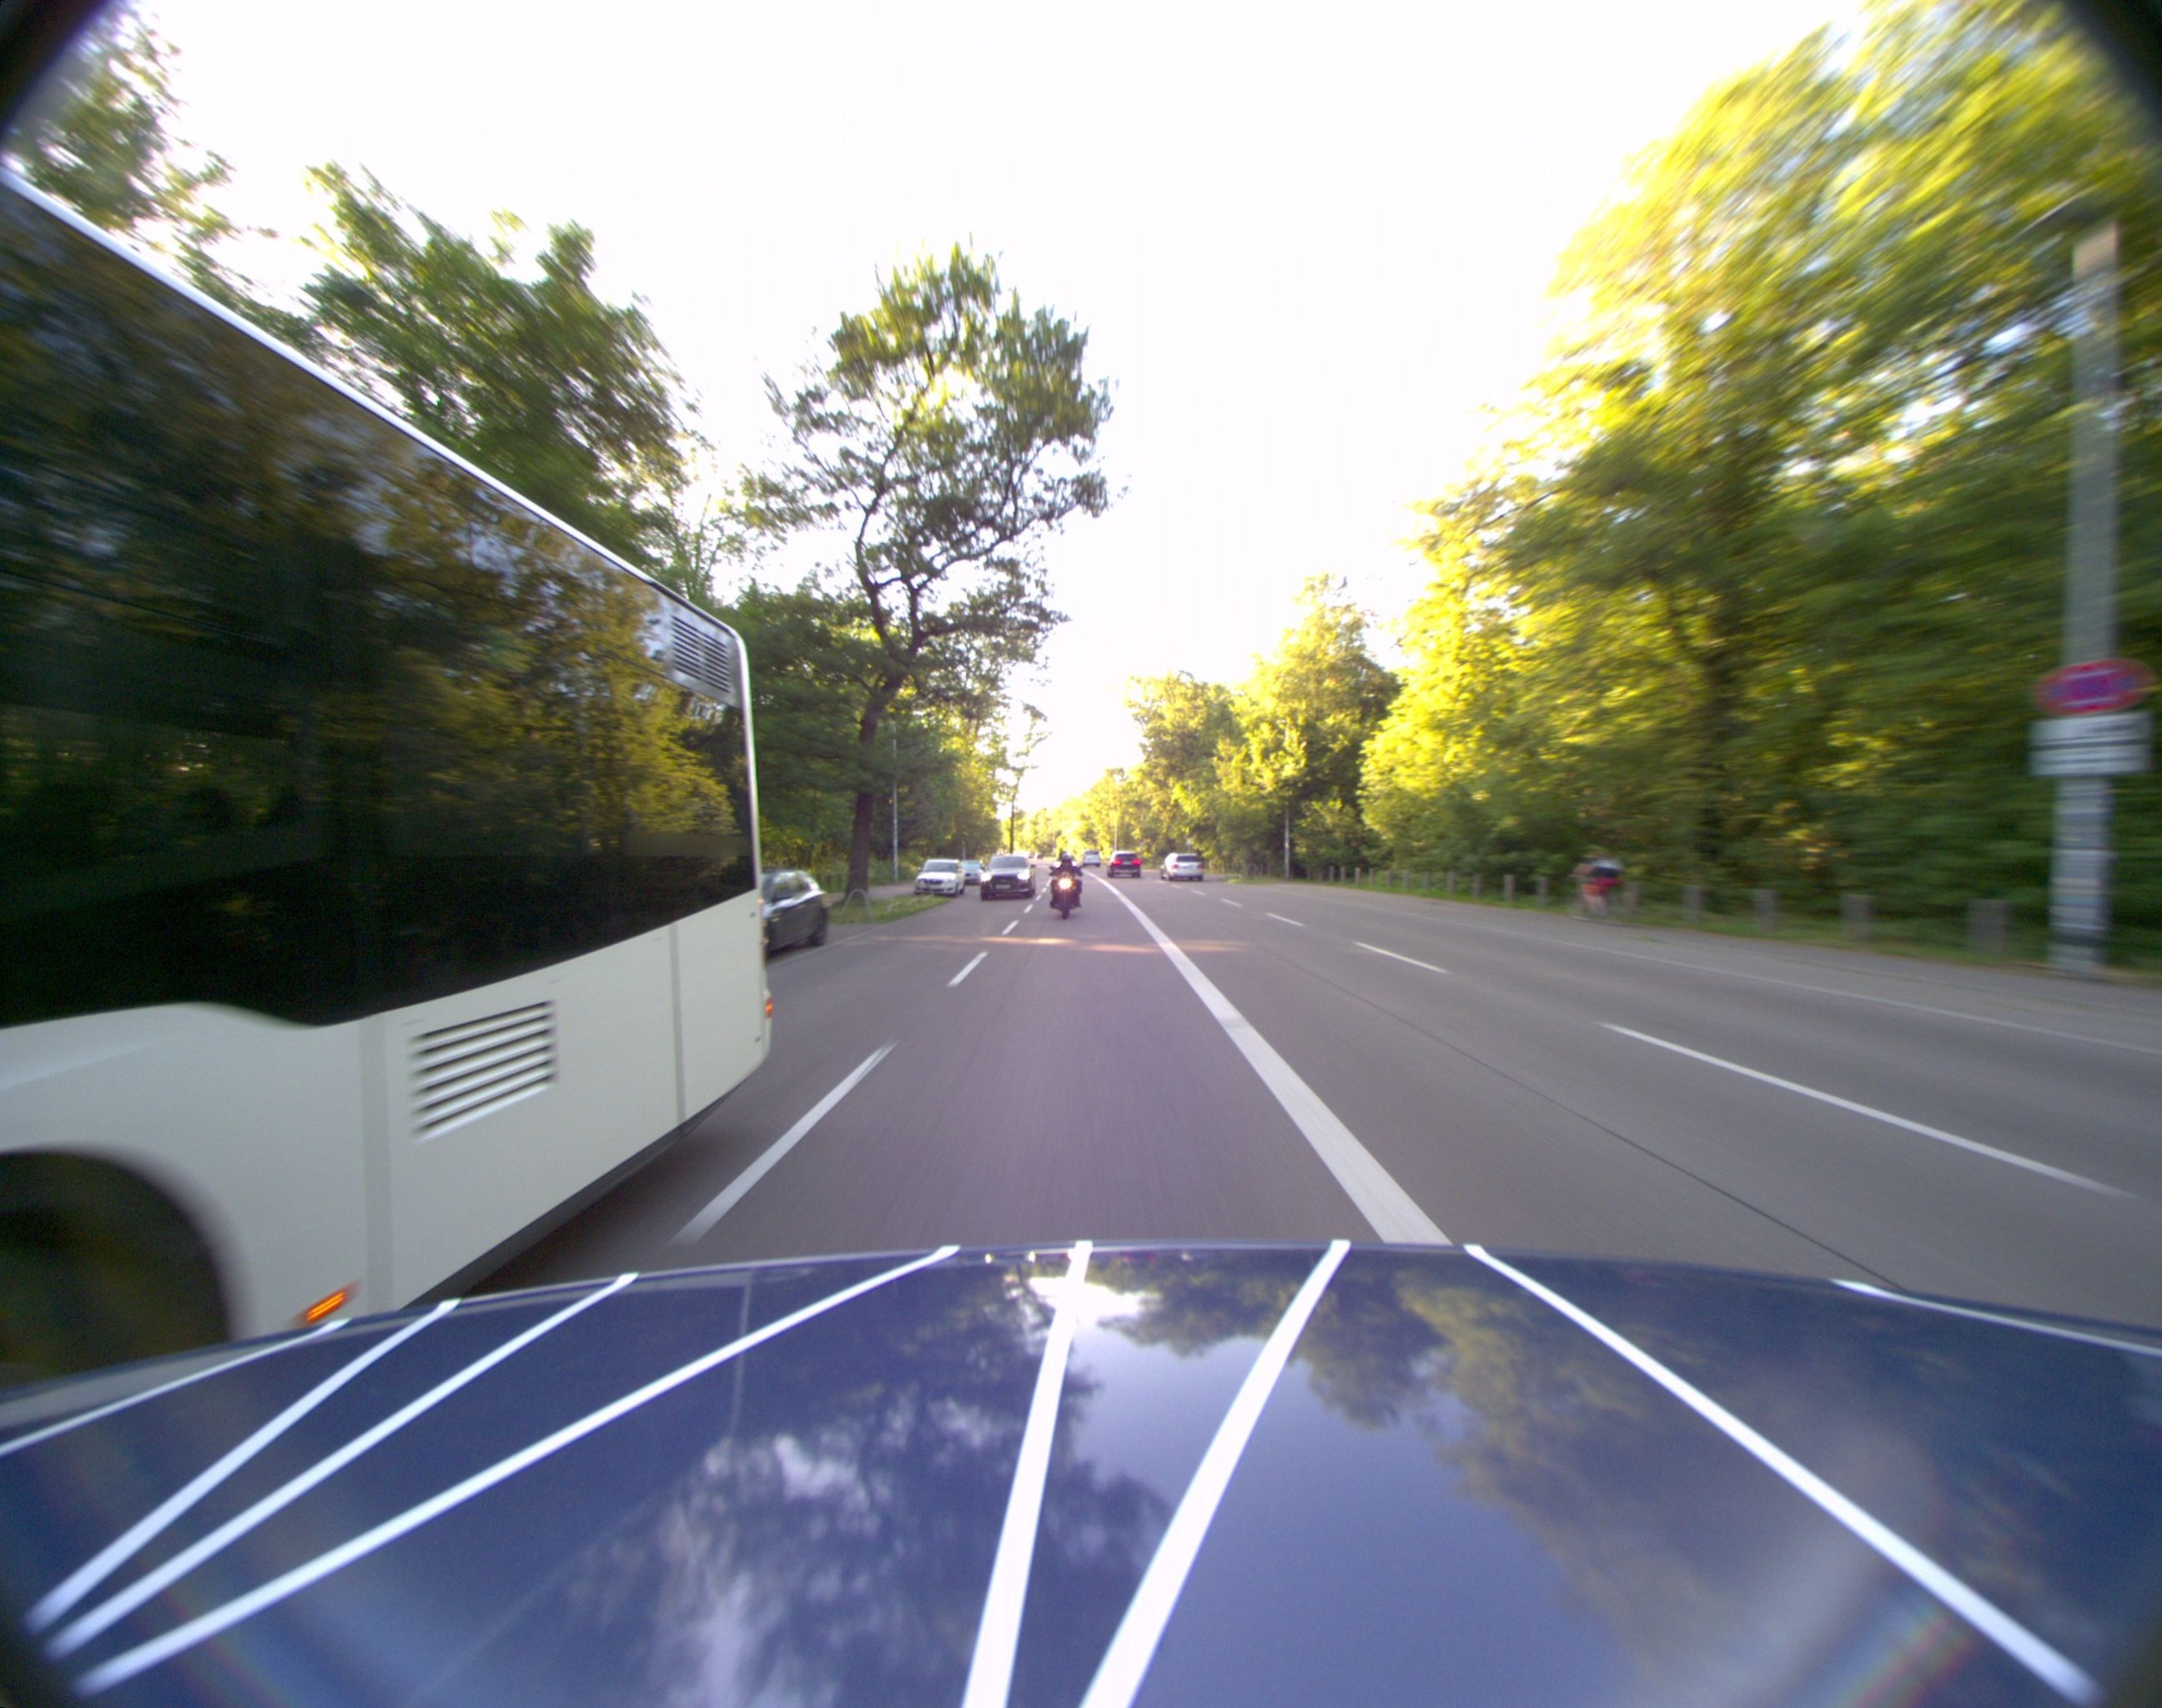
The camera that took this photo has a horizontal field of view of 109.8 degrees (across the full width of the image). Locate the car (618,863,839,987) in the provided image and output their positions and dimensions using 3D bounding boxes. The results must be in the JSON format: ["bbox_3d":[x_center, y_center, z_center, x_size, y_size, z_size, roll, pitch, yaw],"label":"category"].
[{"bbox_3d":[-5.372,0.972,12.248,2.000,1.548,4.096,-1,0,-7],"label":"car"}]

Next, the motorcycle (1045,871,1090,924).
[{"bbox_3d":[-0.293,1.049,19.240,0.956,1.098,3.339,-3,0,1],"label":"motorcycle"}]

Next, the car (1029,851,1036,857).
[{"bbox_3d":[-13.901,-0.112,218.948,1.912,1.746,4.797,0,0,-6],"label":"car"}]

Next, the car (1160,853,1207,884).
[{"bbox_3d":[5.594,0.758,42.054,1.903,1.523,4.528,-1,0,-1],"label":"car"}]

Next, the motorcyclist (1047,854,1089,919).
[{"bbox_3d":[-0.309,0.790,18.978,0.953,1.523,1.074,-2,1,1],"label":"motorcyclist"}]

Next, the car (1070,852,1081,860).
[{"bbox_3d":[-1.023,0.333,147.704,1.828,1.454,4.923,-1,0,-4],"label":"car"}]

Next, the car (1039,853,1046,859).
[{"bbox_3d":[-10.005,0.561,195.564,1.810,1.536,4.088,-1,0,-4],"label":"car"}]

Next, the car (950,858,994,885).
[{"bbox_3d":[-6.185,0.948,43.413,1.857,1.384,4.521,2,0,-1],"label":"car"}]

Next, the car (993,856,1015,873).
[{"bbox_3d":[-6.671,0.901,66.325,1.740,1.384,3.944,-1,0,-4],"label":"car"}]

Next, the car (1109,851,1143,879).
[{"bbox_3d":[2.818,0.665,48.503,1.923,1.694,4.442,-1,0,1],"label":"car"}]

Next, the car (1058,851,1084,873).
[{"bbox_3d":[-0.877,0.653,66.215,1.998,1.761,4.232,-1,0,2],"label":"car"}]

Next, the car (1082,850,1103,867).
[{"bbox_3d":[1.246,0.489,87.817,2.212,1.949,4.912,-1,0,-1],"label":"car"}]

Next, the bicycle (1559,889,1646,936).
[{"bbox_3d":[10.598,1.162,15.515,0.496,0.809,1.808,2,0,0],"label":"bicycle"}]

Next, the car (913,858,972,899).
[{"bbox_3d":[-5.649,0.947,31.364,1.732,1.502,4.169,2,0,-1],"label":"car"}]

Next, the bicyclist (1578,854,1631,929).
[{"bbox_3d":[10.600,0.739,15.408,0.500,1.475,0.761,1,1,0],"label":"bicyclist"}]

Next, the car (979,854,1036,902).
[{"bbox_3d":[-2.722,0.845,28.949,1.861,1.608,3.999,-2,0,-2],"label":"car"}]

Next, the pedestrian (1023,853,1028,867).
[{"bbox_3d":[-7.125,0.776,96.970,0.513,1.746,0.734,0,1,-17],"label":"pedestrian"}]
